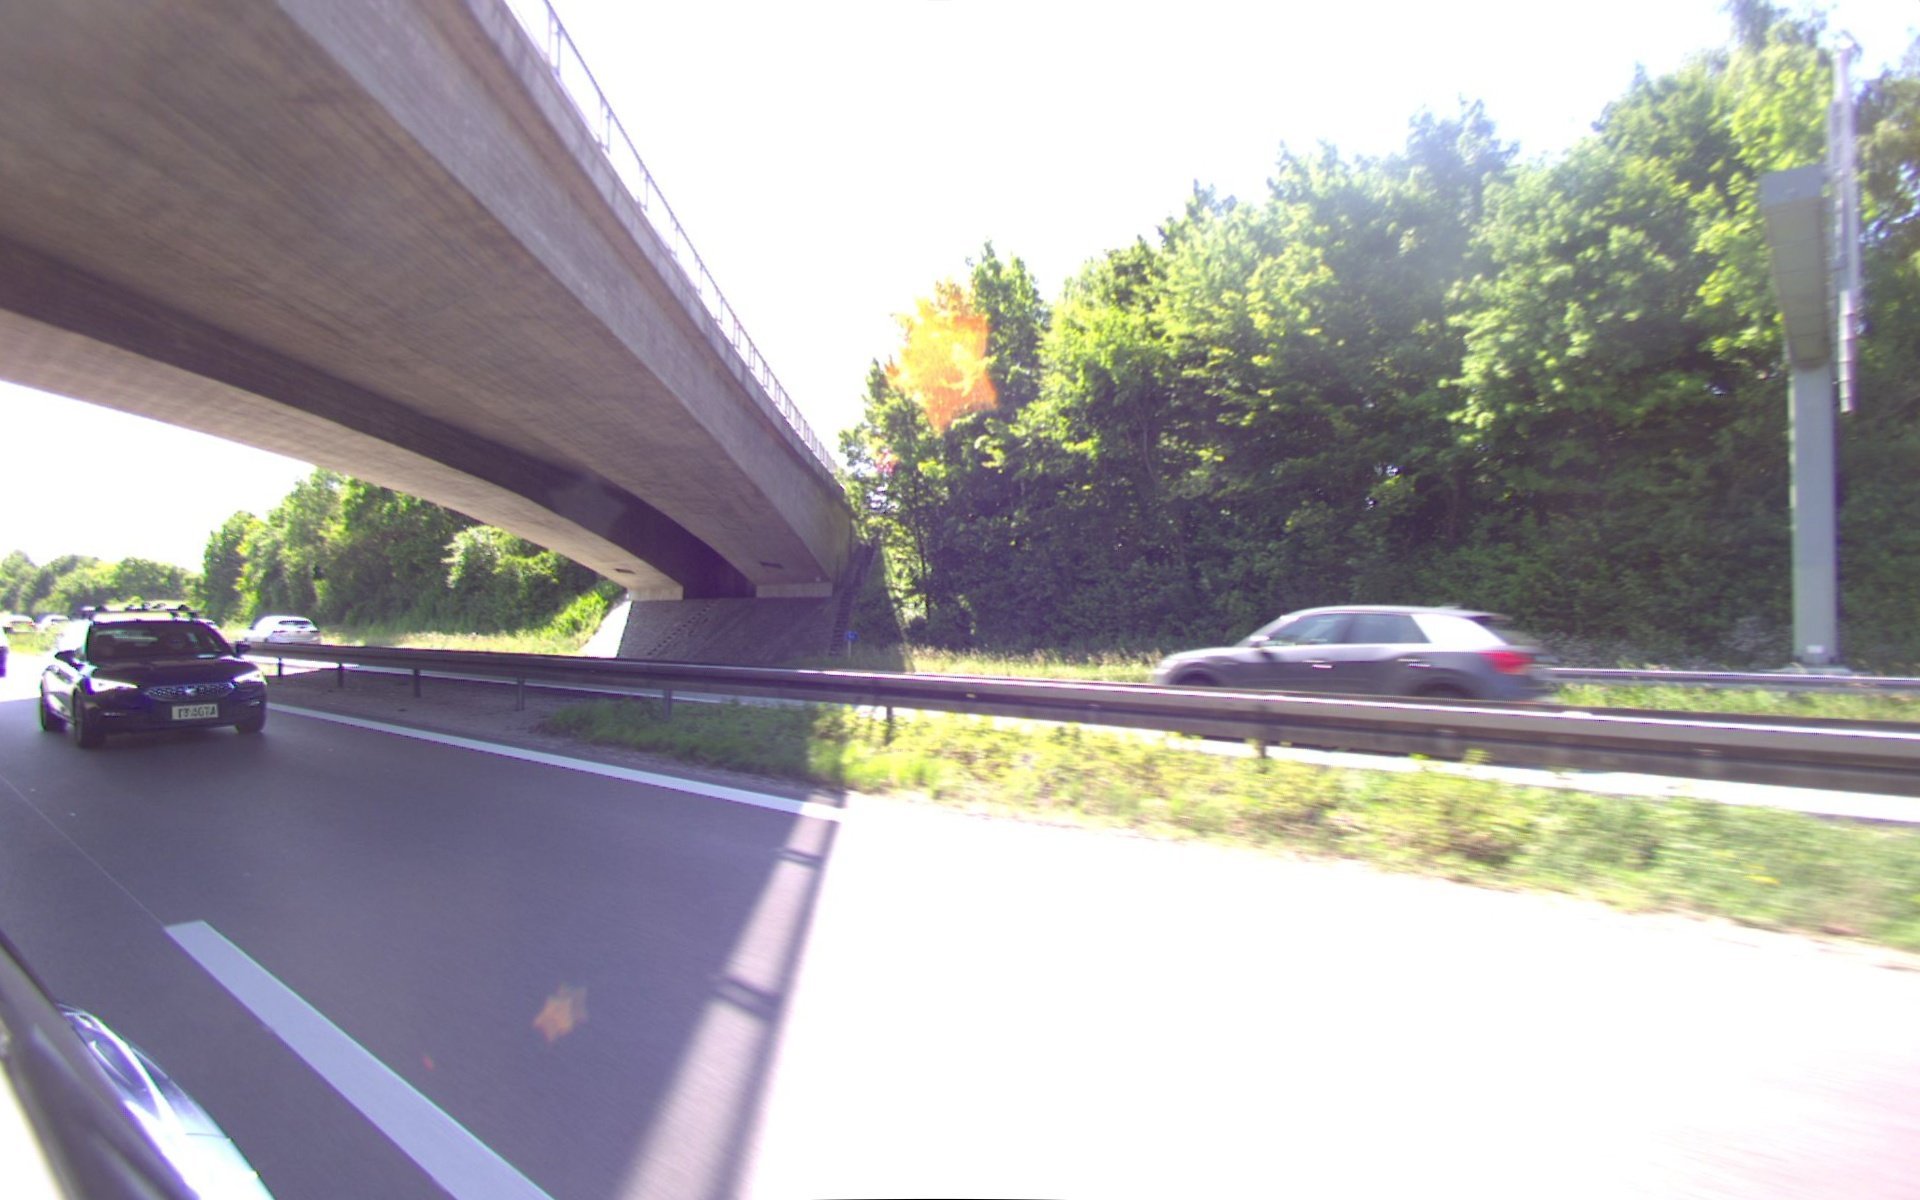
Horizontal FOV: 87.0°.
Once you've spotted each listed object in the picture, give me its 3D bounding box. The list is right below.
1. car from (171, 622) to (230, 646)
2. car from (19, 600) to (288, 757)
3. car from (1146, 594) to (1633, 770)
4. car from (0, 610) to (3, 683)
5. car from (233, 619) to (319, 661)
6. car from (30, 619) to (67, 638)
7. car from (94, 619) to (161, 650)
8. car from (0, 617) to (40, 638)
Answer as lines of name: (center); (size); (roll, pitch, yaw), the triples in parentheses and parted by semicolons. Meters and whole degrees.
car: (-44.434, 1.963, 59.171); (4.365, 1.312, 1.756); (-1, -4, 40)
car: (-10.219, 0.858, 12.715); (4.237, 1.638, 1.880); (-1, -1, 40)
car: (4.383, 0.746, 10.774); (4.432, 1.495, 1.862); (-1, -2, 41)
car: (-24.941, 1.089, 24.838); (3.981, 1.736, 1.845); (0, -1, 43)
car: (-25.736, 1.479, 38.027); (4.346, 1.493, 1.665); (-1, -2, 41)
car: (-78.406, 2.435, 87.049); (4.211, 1.539, 1.841); (-1, -2, 41)
car: (-41.176, 1.698, 50.019); (4.416, 1.485, 1.756); (-1, -4, 40)
car: (-72.518, 2.104, 77.997); (4.748, 1.539, 1.841); (-1, -2, 41)
